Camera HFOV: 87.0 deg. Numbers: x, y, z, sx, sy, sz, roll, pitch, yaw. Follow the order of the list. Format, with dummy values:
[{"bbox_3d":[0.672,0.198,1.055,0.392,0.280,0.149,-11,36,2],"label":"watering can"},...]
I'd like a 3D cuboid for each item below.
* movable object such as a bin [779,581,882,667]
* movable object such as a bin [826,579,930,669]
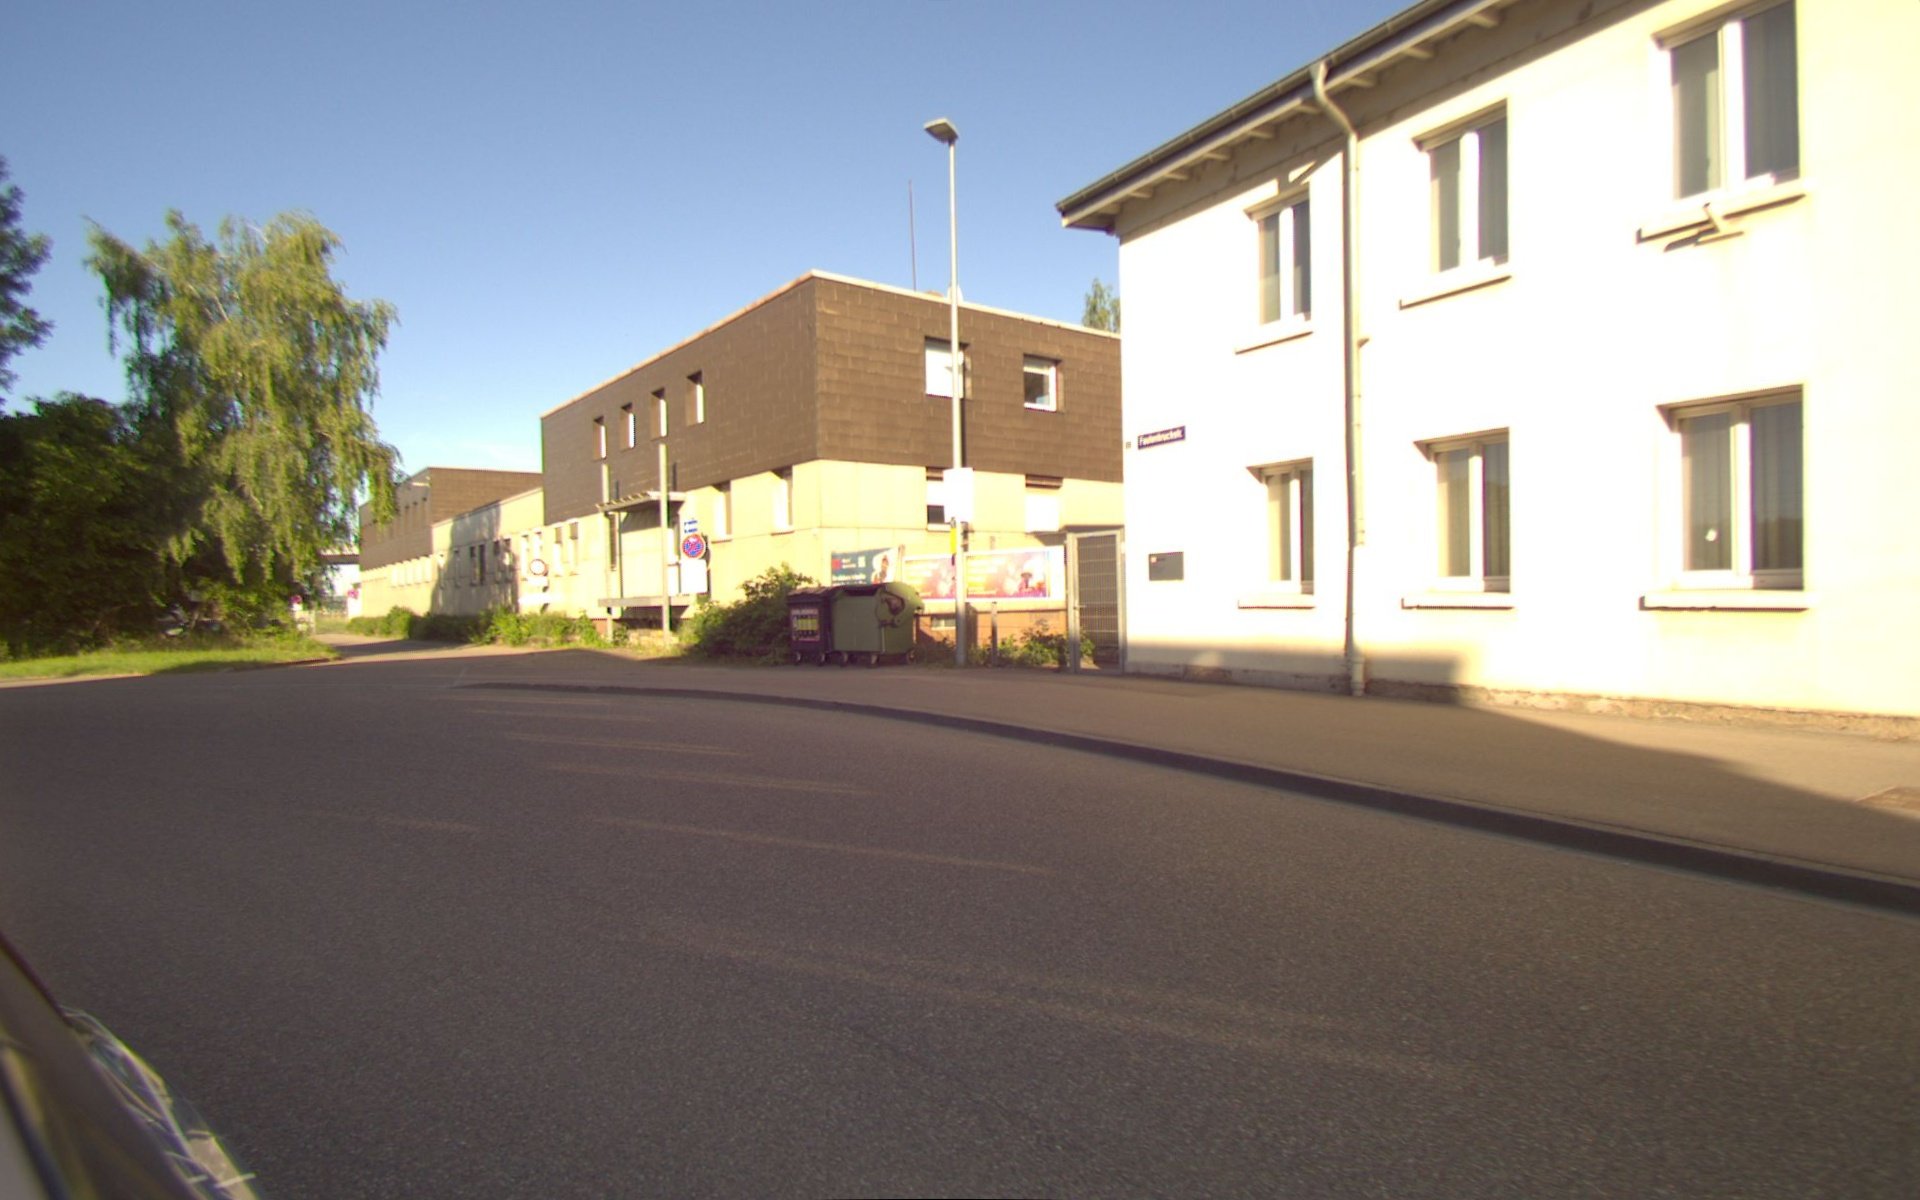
[{"bbox_3d":[-2.384,0.417,18.622,1.344,1.482,1.290,-2,0,-43],"label":"movable object such as a bin"},{"bbox_3d":[-1.436,0.394,17.609,1.184,1.482,1.374,-2,0,-43],"label":"movable object such as a bin"}]
